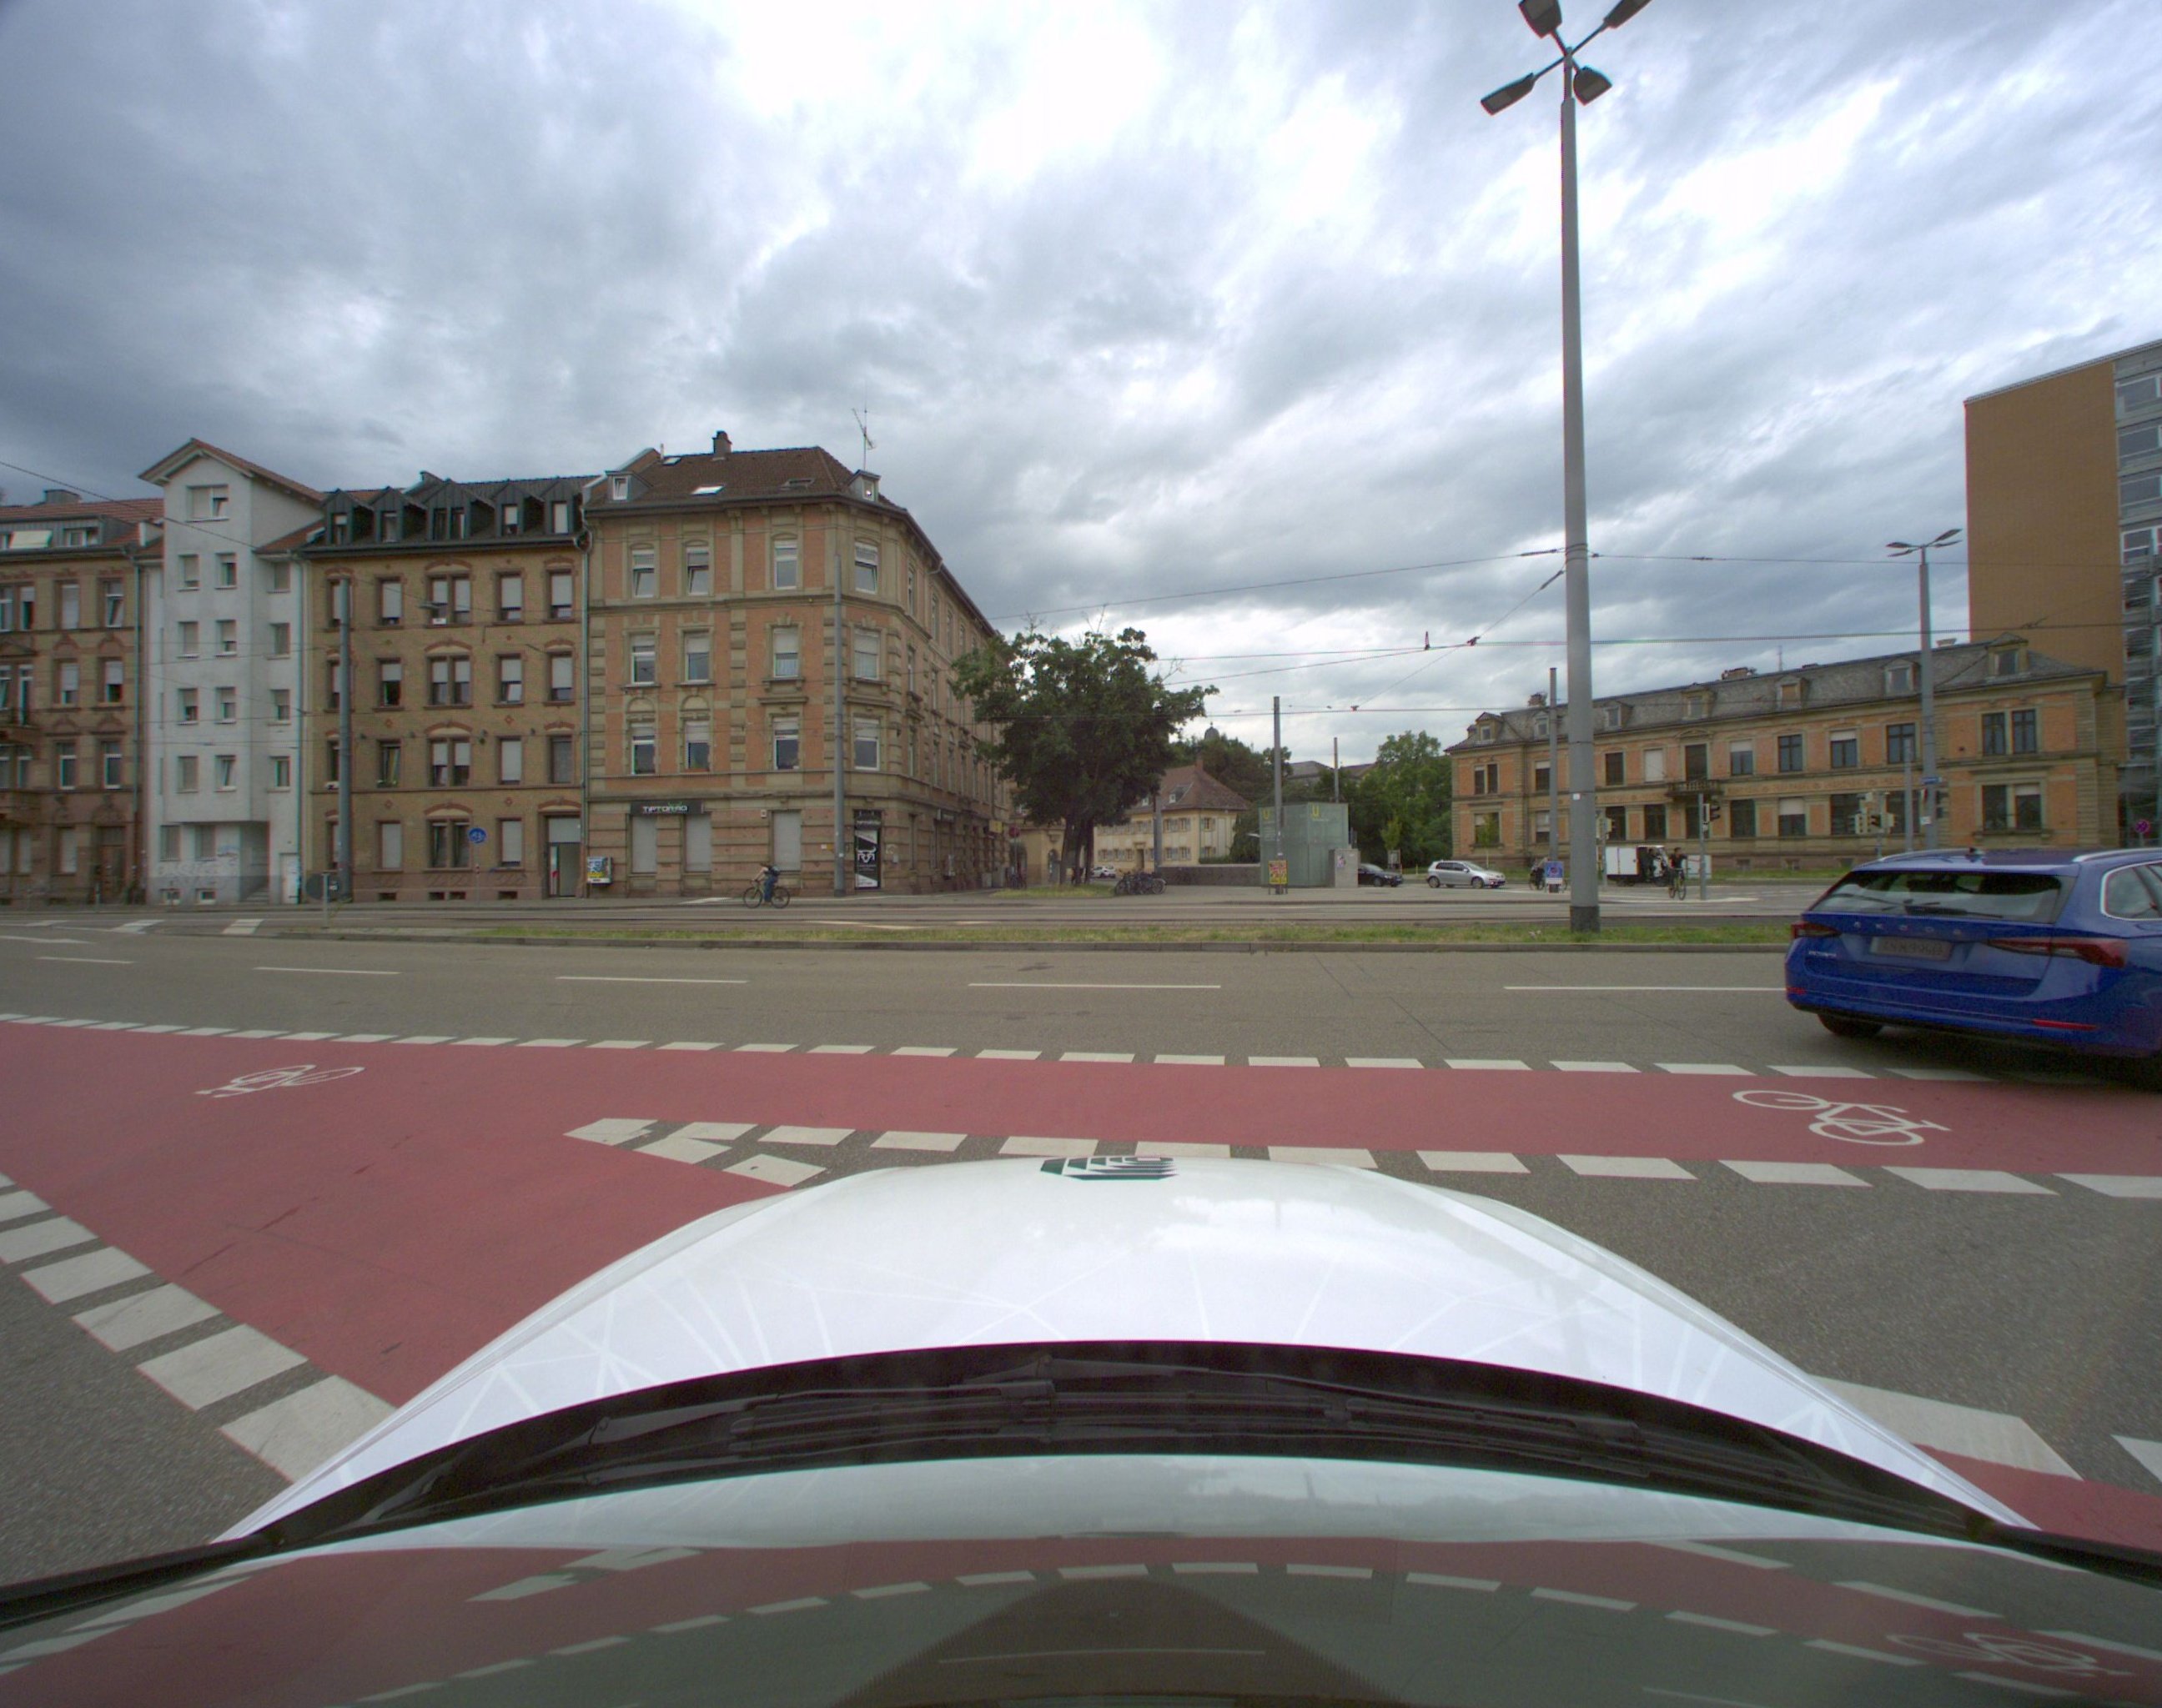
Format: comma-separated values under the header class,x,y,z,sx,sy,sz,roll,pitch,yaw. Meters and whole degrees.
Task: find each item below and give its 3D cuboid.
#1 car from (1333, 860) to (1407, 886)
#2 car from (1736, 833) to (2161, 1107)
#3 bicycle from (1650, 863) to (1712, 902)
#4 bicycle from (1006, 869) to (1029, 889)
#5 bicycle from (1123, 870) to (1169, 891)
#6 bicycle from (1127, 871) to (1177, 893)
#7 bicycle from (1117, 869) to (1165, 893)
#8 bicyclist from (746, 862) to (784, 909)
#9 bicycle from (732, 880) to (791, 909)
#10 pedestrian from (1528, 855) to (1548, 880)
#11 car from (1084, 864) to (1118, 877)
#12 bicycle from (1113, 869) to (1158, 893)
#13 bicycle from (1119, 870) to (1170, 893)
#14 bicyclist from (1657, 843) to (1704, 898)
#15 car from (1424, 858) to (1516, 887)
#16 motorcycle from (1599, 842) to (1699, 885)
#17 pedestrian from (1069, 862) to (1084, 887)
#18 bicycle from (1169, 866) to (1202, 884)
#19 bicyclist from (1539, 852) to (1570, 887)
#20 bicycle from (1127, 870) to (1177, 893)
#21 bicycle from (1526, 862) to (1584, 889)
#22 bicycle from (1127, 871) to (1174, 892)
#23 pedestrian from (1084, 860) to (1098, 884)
class,x,y,z,sx,sy,sz,roll,pitch,yaw
car,17.127,1.118,48.423,1.701,1.449,4.105,-1,0,-28
car,7.315,0.631,6.058,4.466,1.488,1.773,0,-1,-21
bicycle,20.264,0.966,27.540,0.808,1.243,2.005,-2,-2,9
bicycle,-3.136,1.240,40.340,0.656,0.914,1.995,-1,0,11
bicycle,3.303,1.338,41.197,2.196,1.039,0.691,-1,-1,16
bicycle,3.335,1.308,38.265,2.196,0.987,0.613,-1,-1,16
bicycle,2.620,1.186,35.766,2.016,0.987,0.524,-1,-1,16
bicyclist,-10.484,1.035,27.032,0.935,1.494,0.664,-1,-1,3
bicycle,-10.591,1.343,27.045,1.707,0.915,0.608,-1,-1,2
pedestrian,33.637,0.989,59.907,1.113,1.763,0.763,-2,-1,45
car,2.257,1.899,94.185,1.705,1.449,4.141,-1,0,-36
bicycle,2.339,1.170,35.053,1.849,0.987,0.502,-1,-1,14
bicycle,2.820,1.226,36.299,2.196,1.006,0.482,-1,-1,16
bicyclist,20.251,0.557,27.524,0.808,1.798,1.032,-2,-1,9
car,20.707,0.997,43.537,1.768,1.454,4.118,-1,-1,-33
motorcycle,27.786,0.477,39.945,1.703,2.014,3.648,0,-1,-34
pedestrian,-0.333,1.430,56.984,0.839,1.722,0.955,-1,-1,10
bicycle,6.442,1.290,50.449,0.742,1.115,2.340,-1,-1,-31
bicyclist,22.045,0.712,37.929,0.858,1.623,0.908,0,-2,-33
bicycle,3.238,1.259,36.993,2.196,0.987,0.502,-1,-1,16
bicycle,22.041,1.008,37.924,0.860,1.208,2.175,0,-2,-33
bicycle,3.414,1.342,39.916,2.196,0.987,0.588,-1,-1,16
pedestrian,0.735,1.280,58.271,0.839,1.722,0.955,-1,-1,10
